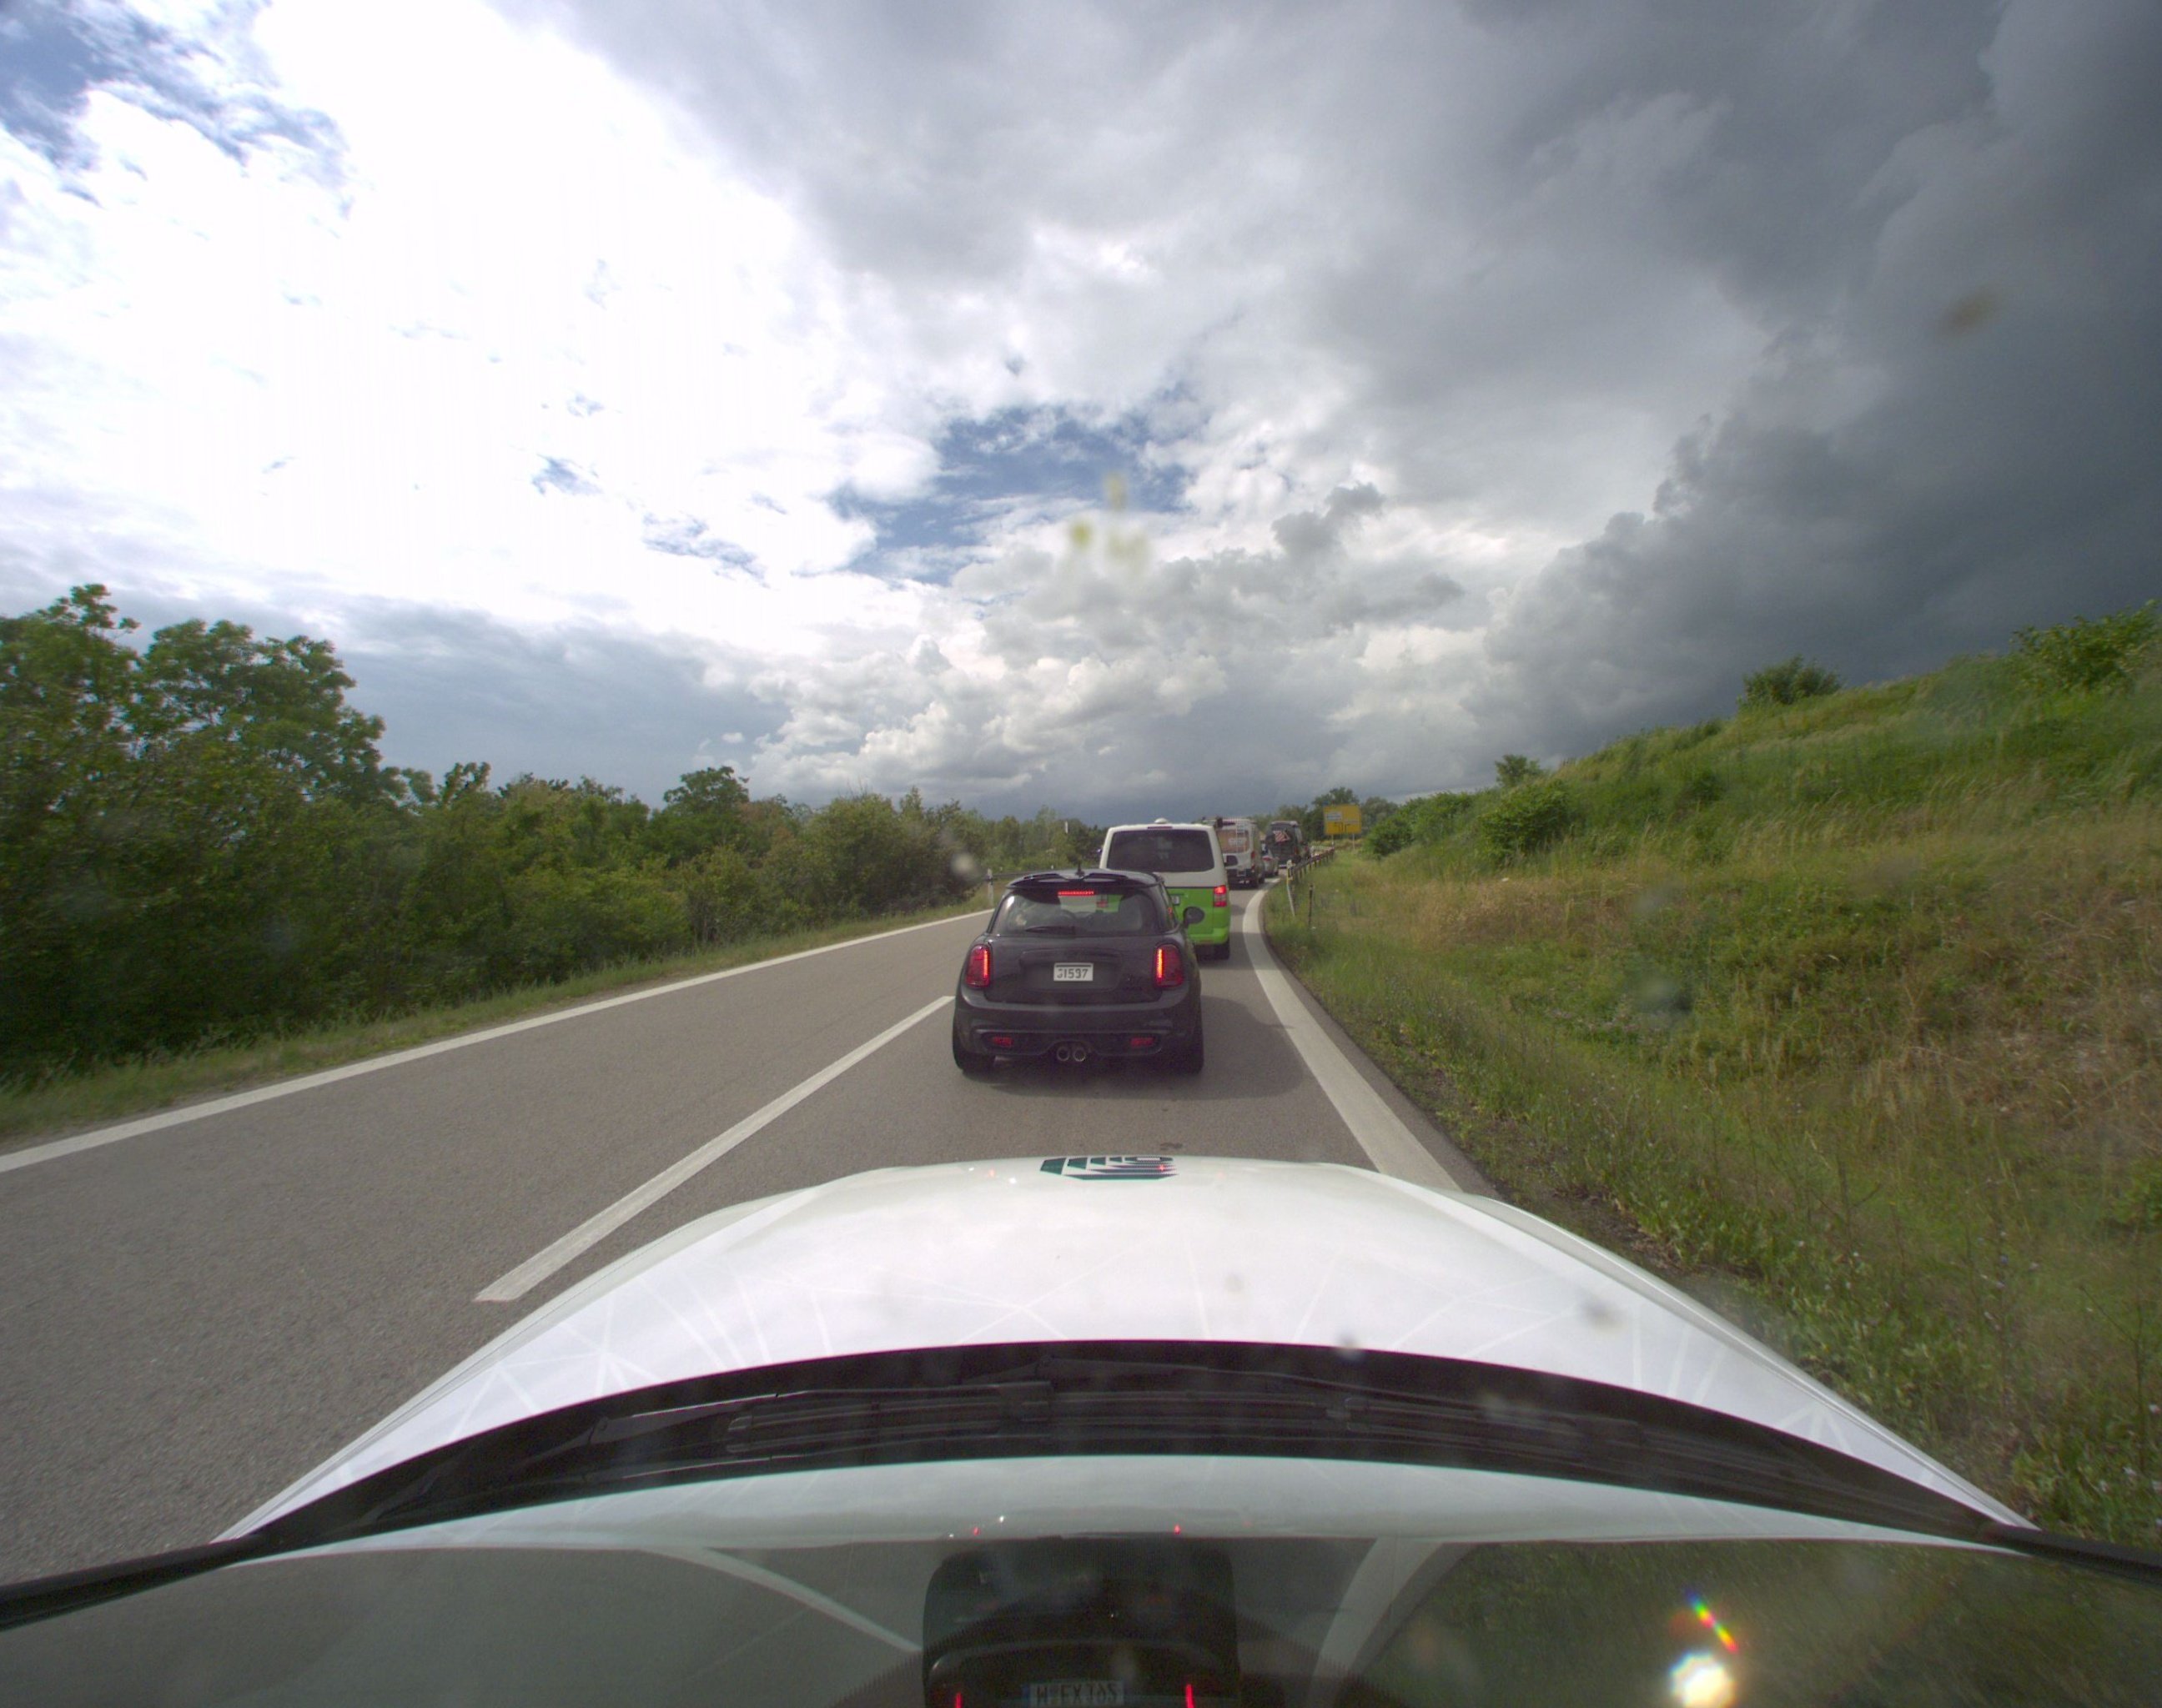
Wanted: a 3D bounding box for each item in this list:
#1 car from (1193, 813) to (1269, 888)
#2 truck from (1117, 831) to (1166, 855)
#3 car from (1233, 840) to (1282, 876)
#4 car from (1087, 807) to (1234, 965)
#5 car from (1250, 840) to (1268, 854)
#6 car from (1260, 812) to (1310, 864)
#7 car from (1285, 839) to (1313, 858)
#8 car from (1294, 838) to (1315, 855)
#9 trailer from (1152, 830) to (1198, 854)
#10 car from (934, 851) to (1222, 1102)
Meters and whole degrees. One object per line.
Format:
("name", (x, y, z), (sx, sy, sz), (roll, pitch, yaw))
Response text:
("car", (5.939, -0.090, 31.589), (2.194, 2.622, 5.559), (-1, -1, 18))
("truck", (10.583, -1.946, 144.207), (2.858, 3.976, 9.920), (0, -1, -36))
("car", (8.676, 0.201, 39.810), (1.978, 1.642, 3.946), (-1, -1, 17))
("car", (1.412, 0.435, 12.778), (1.899, 2.045, 4.193), (-1, 0, 10))
("car", (24.854, -0.919, 113.736), (2.084, 1.883, 4.504), (0, -1, 7))
("car", (12.864, -0.912, 51.032), (2.291, 3.069, 6.696), (-1, -1, 21))
("car", (18.910, -0.441, 70.573), (1.877, 1.588, 4.518), (-1, -1, 20))
("car", (25.423, -0.840, 92.812), (2.080, 1.883, 4.511), (-1, -1, 13))
("trailer", (15.710, -1.952, 136.497), (3.055, 3.898, 8.687), (0, -1, -30))
("car", (0.161, 0.768, 6.982), (1.790, 1.546, 3.745), (-1, 0, 6))
